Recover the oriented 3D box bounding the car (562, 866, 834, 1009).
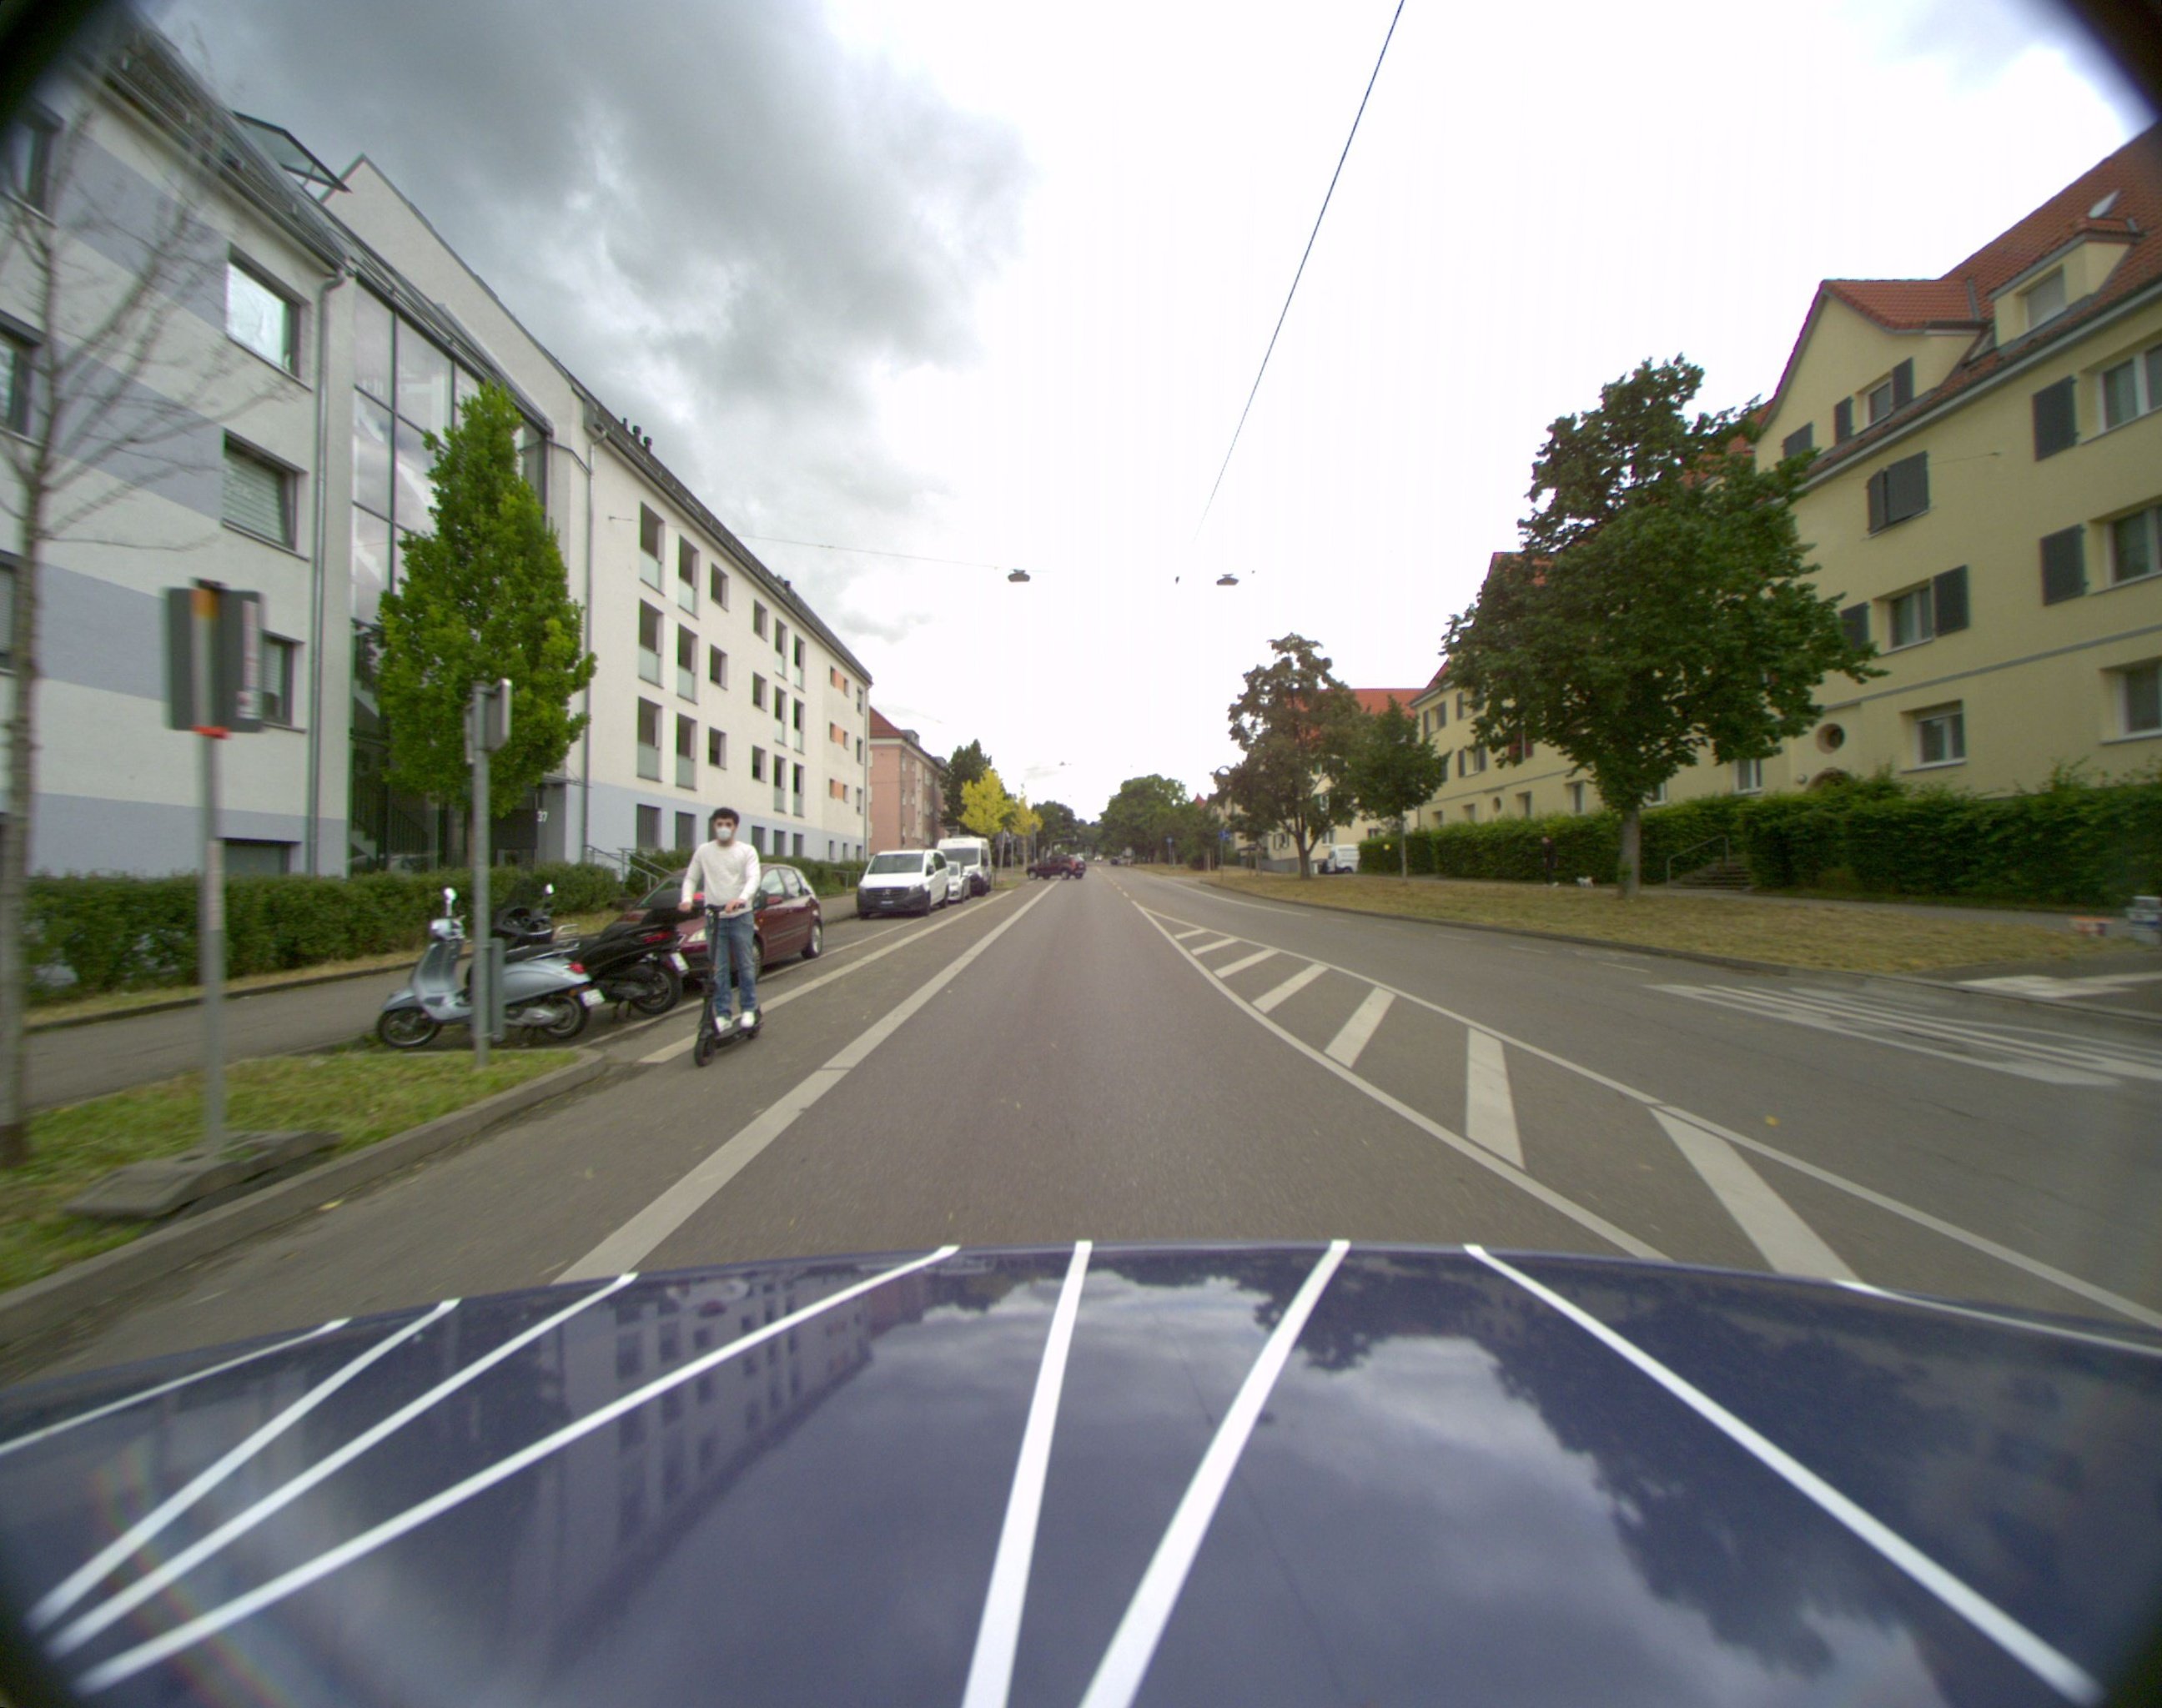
[{"bbox_3d":[-5.056,0.984,10.818,1.685,1.535,4.338,-1,0,-1],"label":"car"}]

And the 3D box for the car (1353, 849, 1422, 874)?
[{"bbox_3d":[20.667,0.508,51.316,3.914,1.520,1.692,-1,-3,0],"label":"car"}]

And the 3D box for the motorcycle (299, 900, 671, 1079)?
[{"bbox_3d":[-5.108,1.133,6.644,2.605,1.372,0.692,-1,0,-3],"label":"motorcycle"}]

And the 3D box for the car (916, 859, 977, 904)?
[{"bbox_3d":[-4.826,0.942,27.668,1.529,1.477,3.726,-2,0,0],"label":"car"}]

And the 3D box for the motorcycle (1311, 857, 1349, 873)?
[{"bbox_3d":[19.538,0.848,59.610,2.598,1.271,1.019,0,1,33],"label":"motorcycle"}]

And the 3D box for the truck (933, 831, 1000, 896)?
[{"bbox_3d":[-4.883,0.390,33.184,2.058,2.550,5.689,-1,0,0],"label":"truck"}]

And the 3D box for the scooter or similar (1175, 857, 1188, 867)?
[{"bbox_3d":[10.824,0.873,81.651,1.374,1.080,0.466,0,0,-4],"label":"scooter or similar"}]

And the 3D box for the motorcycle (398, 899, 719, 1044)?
[{"bbox_3d":[-5.140,1.138,7.617,2.605,1.271,0.753,-1,0,-3],"label":"motorcycle"}]

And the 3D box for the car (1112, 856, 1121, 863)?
[{"bbox_3d":[9.176,1.483,195.253,1.997,1.674,4.002,-1,0,6],"label":"car"}]

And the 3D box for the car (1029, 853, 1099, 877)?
[{"bbox_3d":[-1.151,0.757,51.754,4.350,1.610,1.909,-1,0,27],"label":"car"}]

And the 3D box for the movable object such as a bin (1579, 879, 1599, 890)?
[{"bbox_3d":[16.505,0.985,24.698,0.307,0.345,0.581,-1,0,6],"label":"movable object such as a bin"}]

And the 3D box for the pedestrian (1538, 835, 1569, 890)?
[{"bbox_3d":[15.478,0.279,24.893,0.515,1.769,0.753,-1,0,0],"label":"pedestrian"}]

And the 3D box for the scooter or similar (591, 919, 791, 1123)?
[{"bbox_3d":[-2.942,1.177,6.000,0.492,1.156,2.074,-1,0,0],"label":"scooter or similar"}]

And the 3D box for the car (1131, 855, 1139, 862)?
[{"bbox_3d":[13.138,1.011,184.802,1.860,1.596,4.000,-1,0,2],"label":"car"}]

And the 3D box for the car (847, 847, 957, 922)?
[{"bbox_3d":[-5.130,0.805,22.575,1.998,1.932,5.211,-1,0,0],"label":"car"}]

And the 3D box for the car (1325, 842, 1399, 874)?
[{"bbox_3d":[20.751,0.293,56.221,4.729,2.240,1.995,0,1,1],"label":"car"}]

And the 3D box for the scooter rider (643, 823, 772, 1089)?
[{"bbox_3d":[-2.971,0.770,6.112,0.627,2.002,0.757,-1,0,0],"label":"scooter rider"}]
